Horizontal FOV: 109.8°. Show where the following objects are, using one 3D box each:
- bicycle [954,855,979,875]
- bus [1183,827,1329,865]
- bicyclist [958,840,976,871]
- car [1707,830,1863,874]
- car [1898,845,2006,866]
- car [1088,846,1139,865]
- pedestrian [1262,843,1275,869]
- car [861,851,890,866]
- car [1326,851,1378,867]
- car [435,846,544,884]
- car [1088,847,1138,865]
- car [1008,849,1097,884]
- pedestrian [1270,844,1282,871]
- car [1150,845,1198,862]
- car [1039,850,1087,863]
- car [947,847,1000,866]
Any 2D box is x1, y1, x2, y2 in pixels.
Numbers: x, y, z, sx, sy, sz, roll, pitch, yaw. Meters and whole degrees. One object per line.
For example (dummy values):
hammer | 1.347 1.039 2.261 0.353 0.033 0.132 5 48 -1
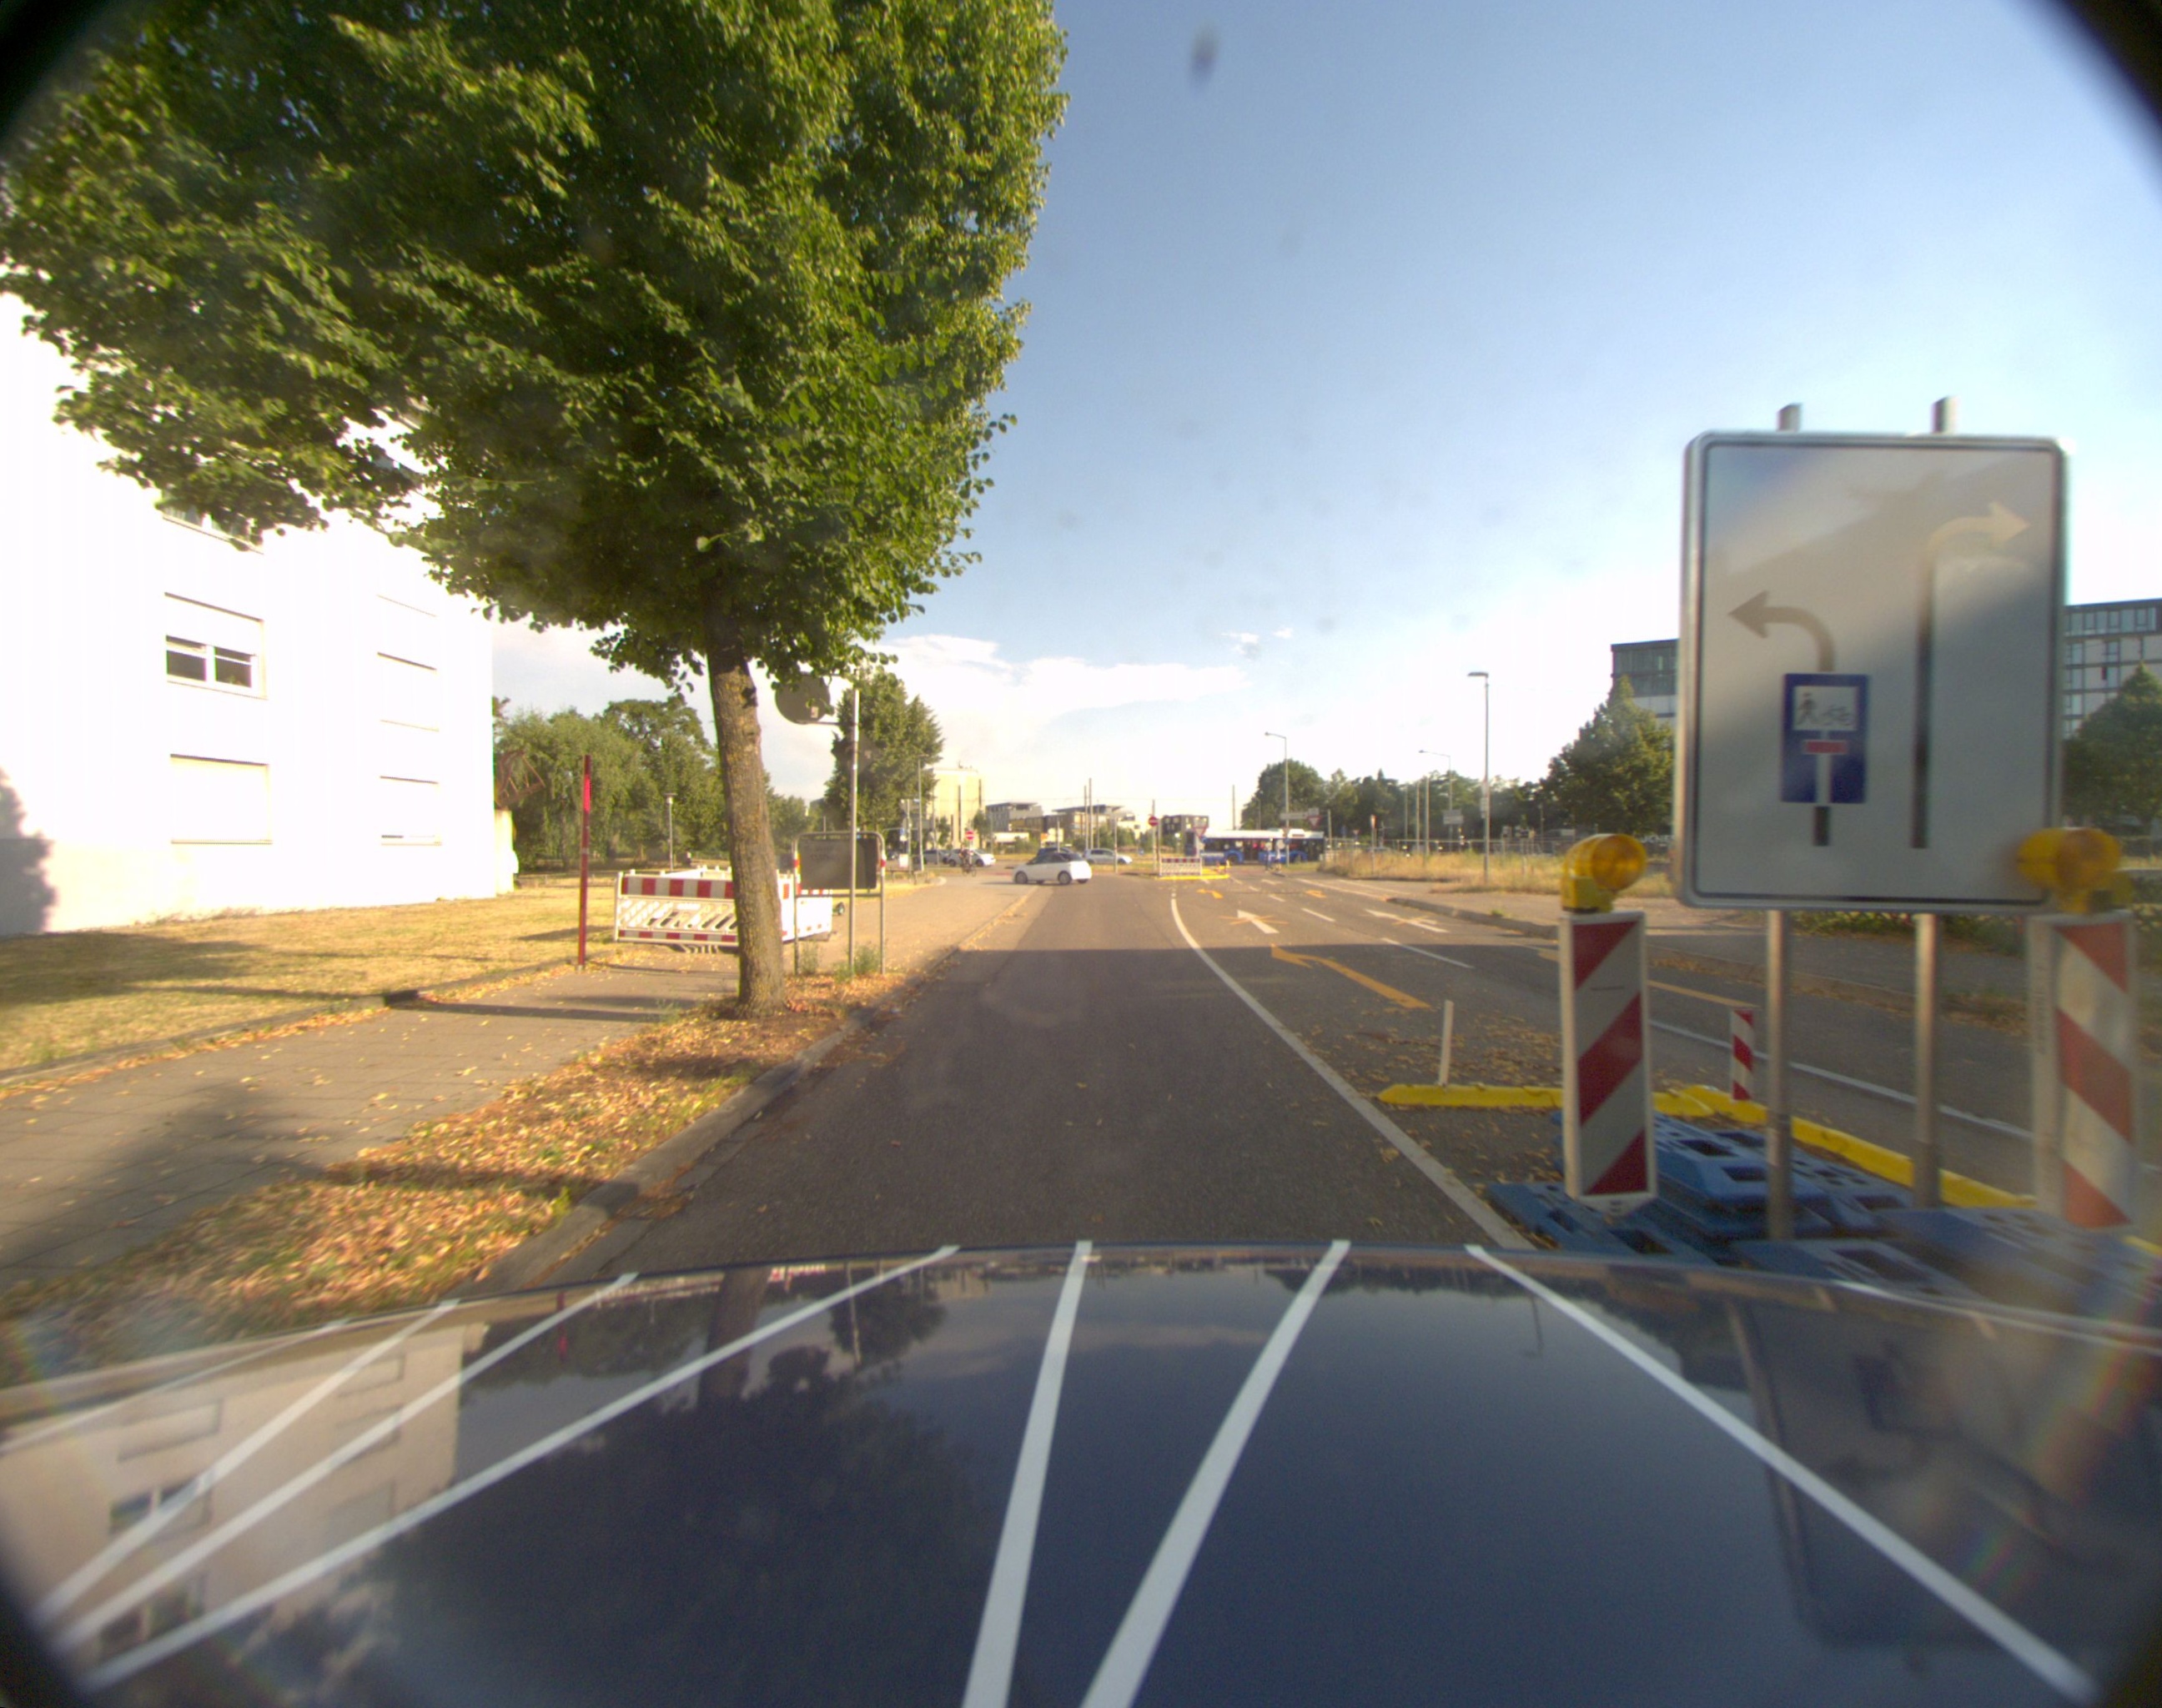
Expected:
bicycle | -6.786 0.626 44.964 0.642 1.116 2.119 -1 1 -34
bus | 14.856 -0.699 64.484 12.184 3.044 2.663 -1 1 -14
bicyclist | -6.753 0.100 44.918 0.729 1.790 0.936 -1 2 -34
car | 33.746 -0.105 36.666 5.297 2.002 2.004 0 1 36
car | 50.544 0.057 44.196 3.925 1.159 1.334 0 1 24
car | 2.612 0.089 60.952 3.996 1.515 2.000 0 1 3
pedestrian | 12.573 0.123 51.048 0.811 1.699 0.787 0 1 15
car | -21.099 0.427 77.890 2.097 1.376 4.579 -1 1 -25
car | 26.087 0.455 73.189 4.388 1.428 1.809 -1 1 -12
car | -34.982 0.582 45.187 2.268 2.002 5.217 0 2 1
car | 2.643 0.132 63.630 3.998 1.477 1.842 0 1 -3
car | -1.299 0.574 34.790 3.615 1.413 1.767 -2 1 30
pedestrian | 12.810 0.219 49.994 0.770 1.765 0.760 0 1 14
car | 8.561 -0.061 69.806 4.001 1.521 1.776 0 1 -12
car | -1.578 0.202 66.575 3.994 1.171 1.646 0 1 10
car | -9.072 0.185 64.327 4.039 1.542 1.915 0 1 19
